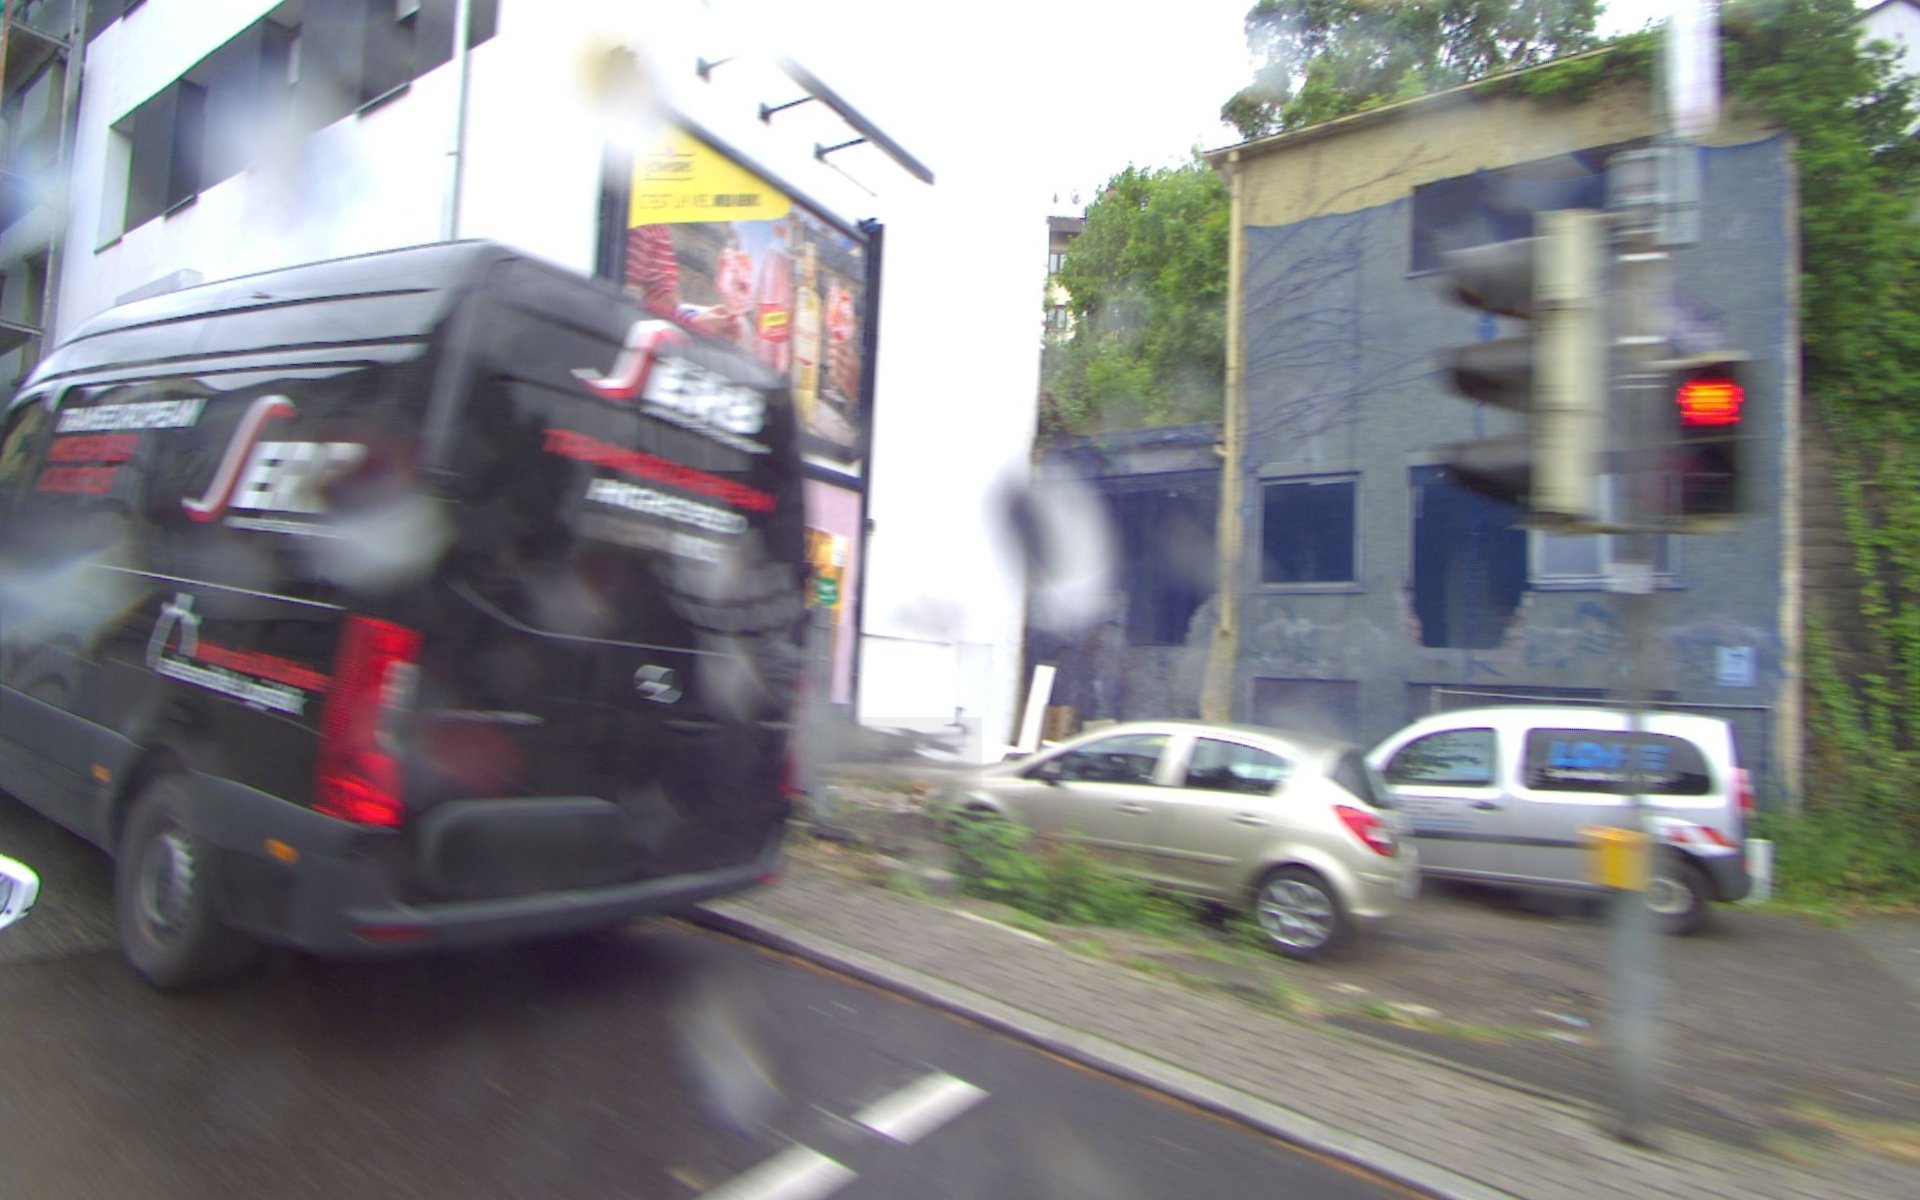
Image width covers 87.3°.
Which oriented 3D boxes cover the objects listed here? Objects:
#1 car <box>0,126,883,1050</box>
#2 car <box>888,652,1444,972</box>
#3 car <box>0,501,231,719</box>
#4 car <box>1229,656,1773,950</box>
[{"bbox_3d":[-3.385,-0.100,5.055,5.743,2.440,1.997,4,-4,33],"label":"car"},{"bbox_3d":[1.541,1.486,8.081,3.935,1.501,1.565,7,-2,33],"label":"car"},{"bbox_3d":[-8.470,-0.071,8.692,4.267,1.529,1.998,6,-3,33],"label":"car"},{"bbox_3d":[5.011,1.757,9.759,4.173,1.933,1.732,4,-4,32],"label":"car"}]
